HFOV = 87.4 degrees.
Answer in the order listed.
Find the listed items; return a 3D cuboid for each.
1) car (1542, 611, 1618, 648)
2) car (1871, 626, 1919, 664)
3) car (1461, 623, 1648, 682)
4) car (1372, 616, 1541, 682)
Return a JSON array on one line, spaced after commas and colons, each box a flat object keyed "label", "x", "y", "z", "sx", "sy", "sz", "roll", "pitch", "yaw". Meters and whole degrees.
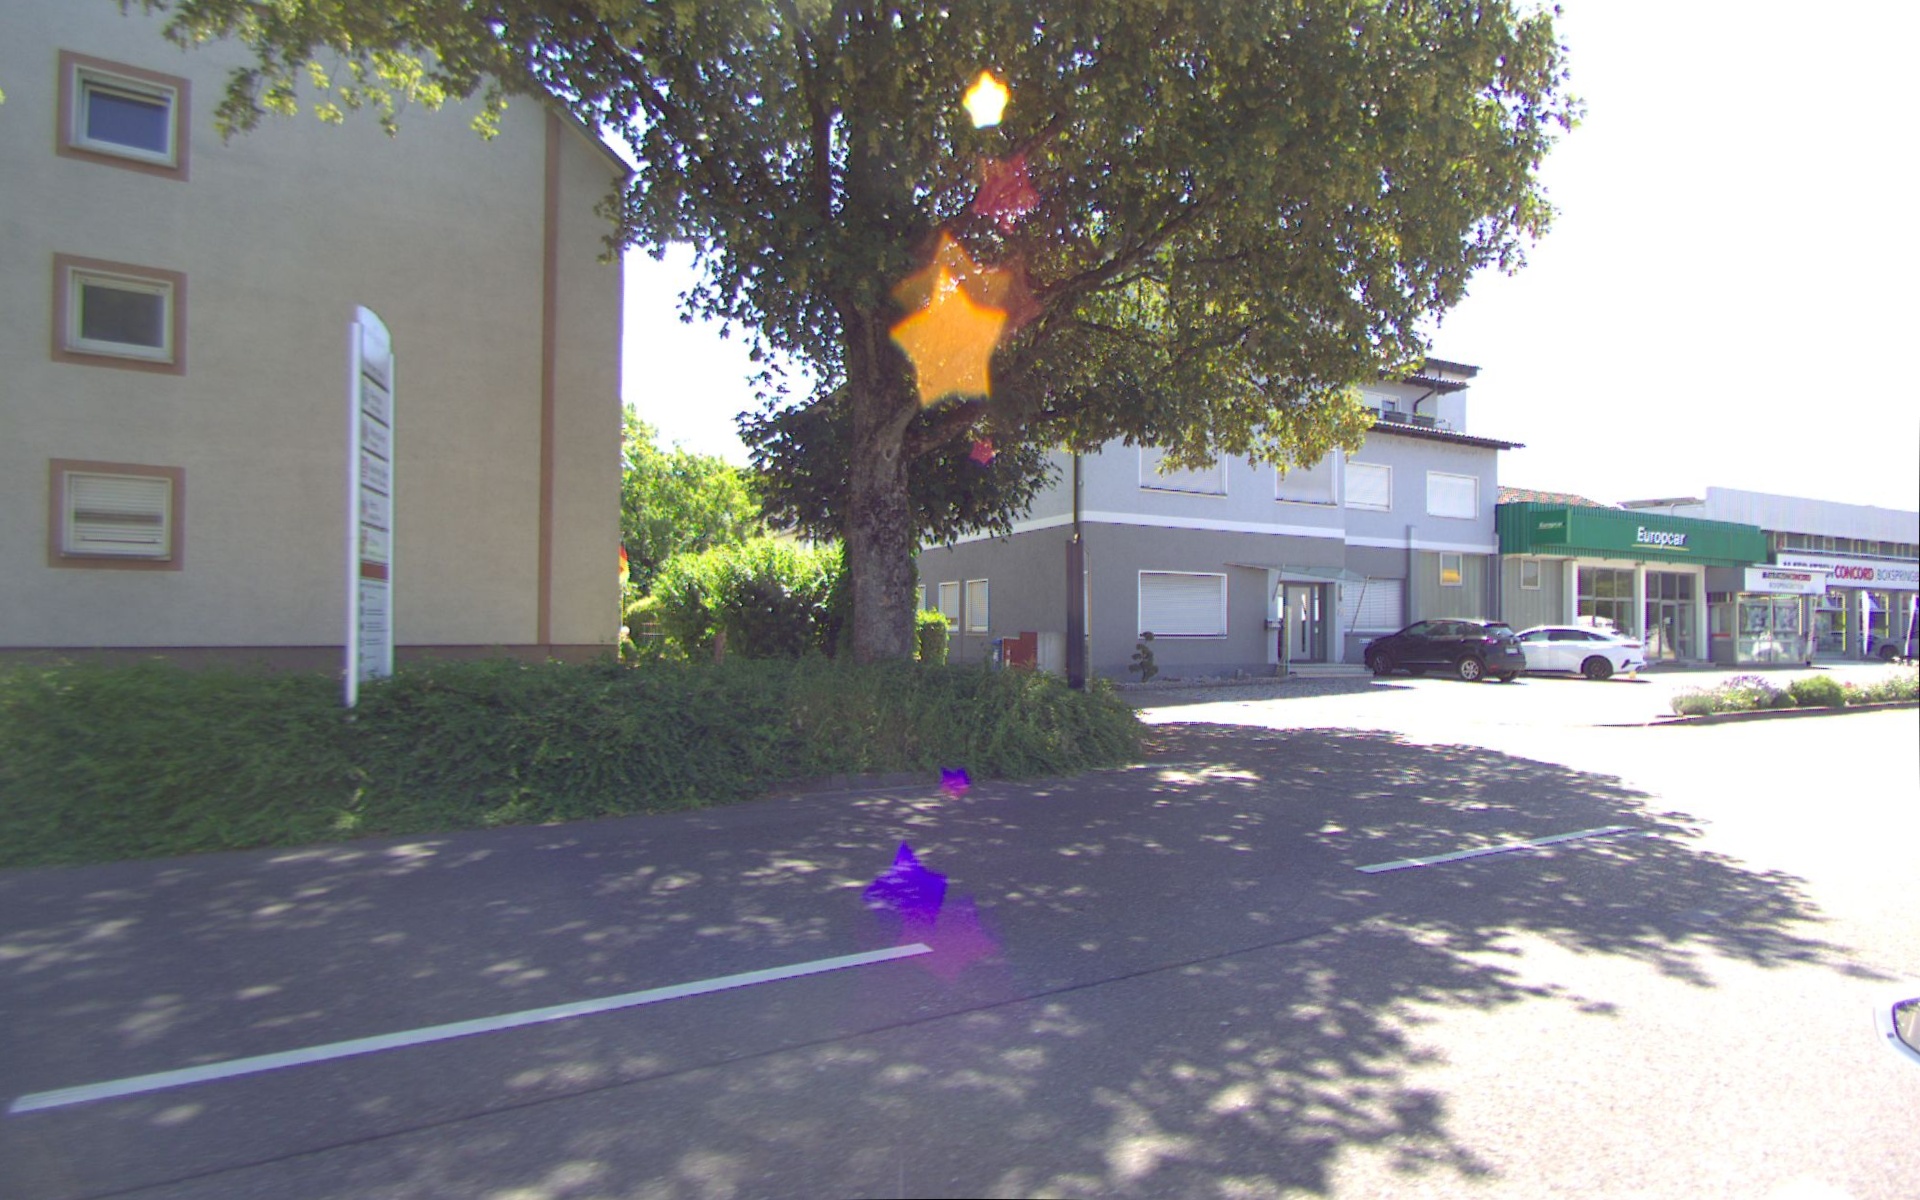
[{"label": "car", "x": 47.498, "y": 2.291, "z": 76.947, "sx": 5.824, "sy": 2.662, "sz": 2.272, "roll": 2, "pitch": 0, "yaw": -27}, {"label": "car", "x": 45.041, "y": 2.085, "z": 46.091, "sx": 1.964, "sy": 1.686, "sz": 4.537, "roll": 1, "pitch": -1, "yaw": -10}, {"label": "car", "x": 16.505, "y": 1.406, "z": 27.965, "sx": 4.287, "sy": 1.458, "sz": 1.932, "roll": 0, "pitch": -1, "yaw": 39}, {"label": "car", "x": 13.009, "y": 1.245, "z": 26.482, "sx": 1.946, "sy": 1.586, "sz": 3.544, "roll": 1, "pitch": -1, "yaw": -29}]
